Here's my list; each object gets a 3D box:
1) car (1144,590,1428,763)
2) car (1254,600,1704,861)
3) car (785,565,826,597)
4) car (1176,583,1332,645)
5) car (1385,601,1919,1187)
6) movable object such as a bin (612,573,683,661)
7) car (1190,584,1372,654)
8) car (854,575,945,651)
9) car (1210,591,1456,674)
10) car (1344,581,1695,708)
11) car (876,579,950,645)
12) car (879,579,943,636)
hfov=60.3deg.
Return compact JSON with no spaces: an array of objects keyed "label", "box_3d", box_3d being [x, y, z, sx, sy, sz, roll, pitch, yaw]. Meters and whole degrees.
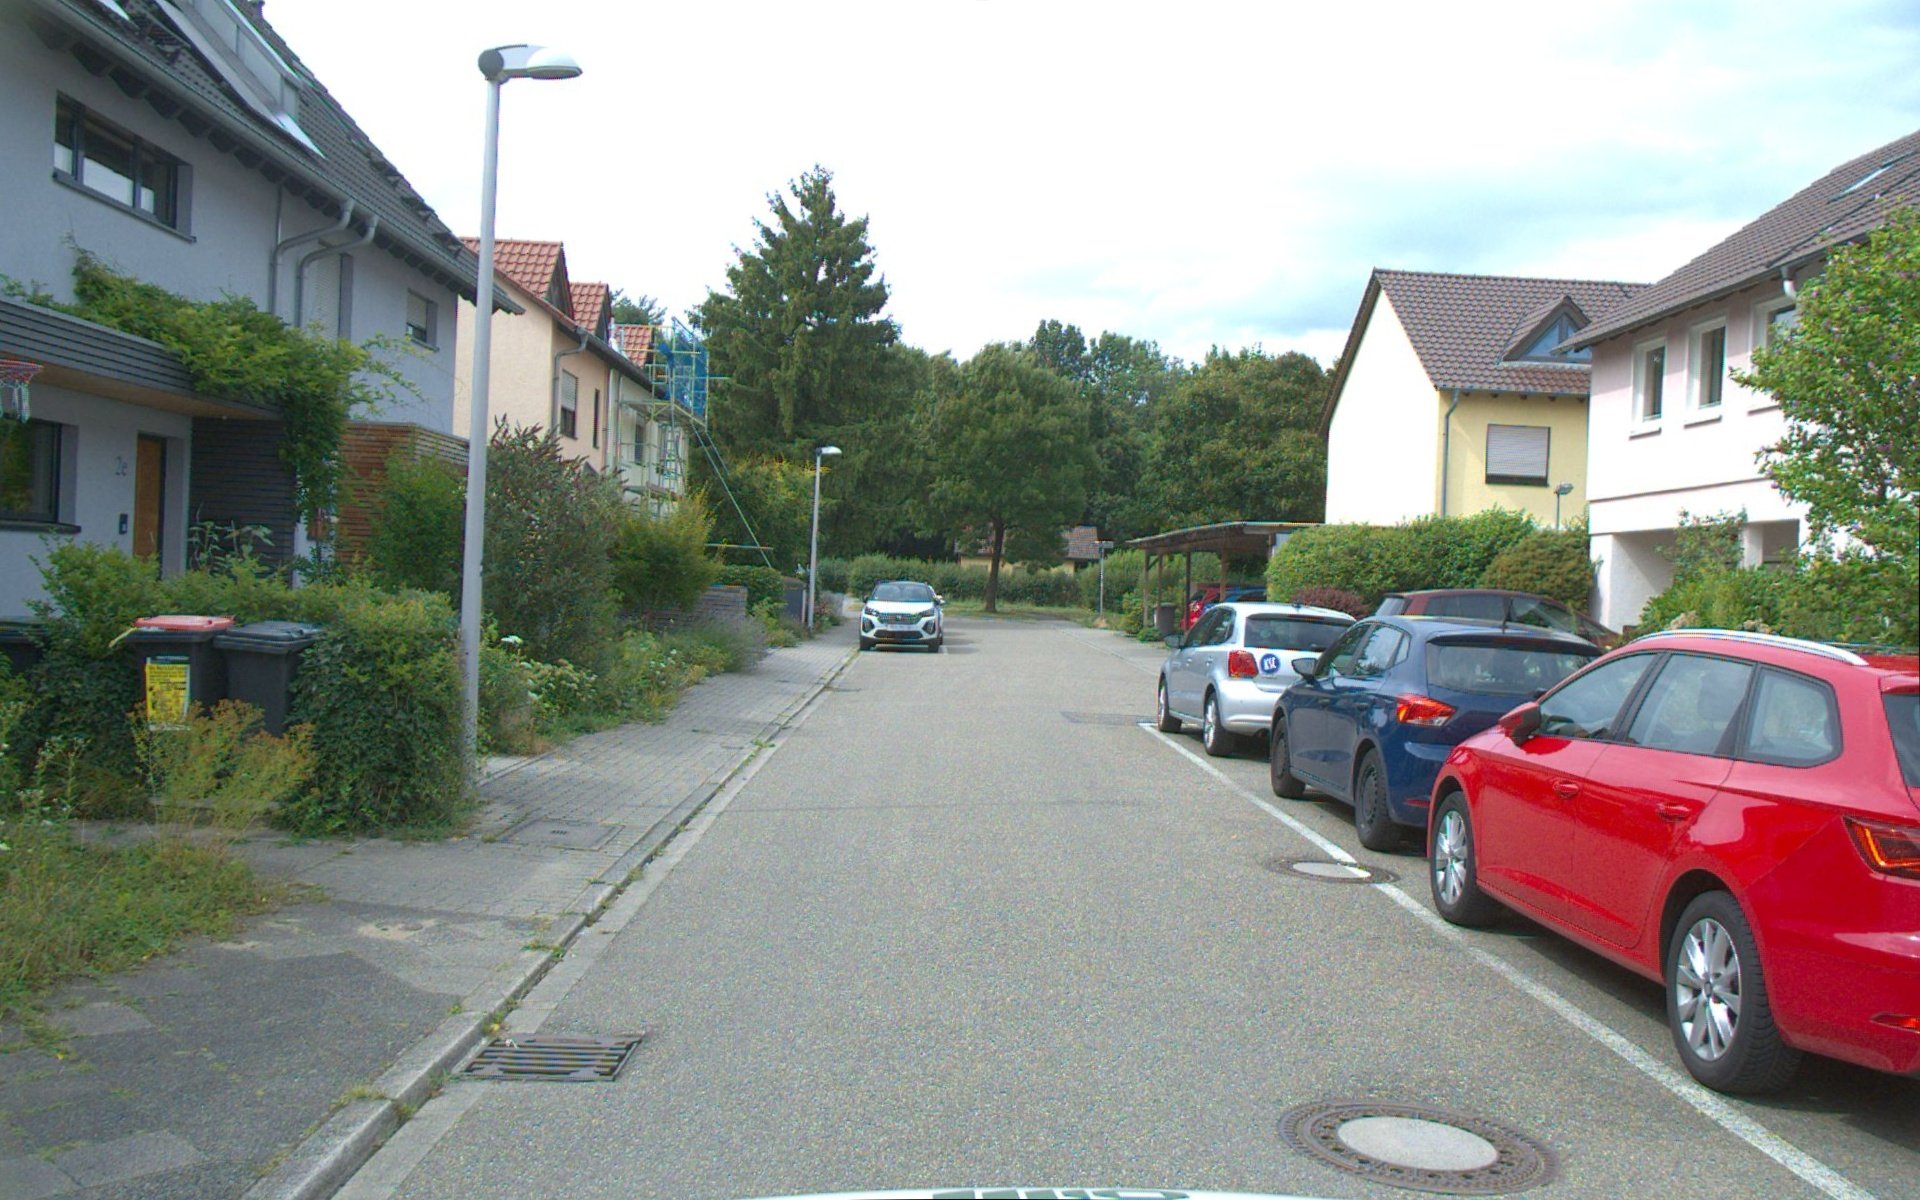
[{"label":"car","box_3d":[3.179,0.682,17.009,1.828,1.441,4.250,2,1,-3]},{"label":"car","box_3d":[3.323,0.742,11.513,1.737,1.379,4.265,2,1,0]},{"label":"car","box_3d":[-8.804,-1.097,94.340,1.898,1.689,4.340,2,1,-1]},{"label":"car","box_3d":[8.011,0.374,45.288,3.879,1.567,1.838,2,1,-4]},{"label":"car","box_3d":[3.276,0.818,6.678,1.738,1.460,4.825,4,0,-1]},{"label":"movable object such as a bin","box_3d":[-4.907,0.251,26.015,0.930,1.335,1.000,1,0,-2]},{"label":"car","box_3d":[7.793,0.440,40.362,3.966,1.549,1.949,2,1,-4]},{"label":"car","box_3d":[-1.318,0.255,37.821,1.894,1.583,4.634,2,1,0]},{"label":"car","box_3d":[7.328,0.620,32.812,4.361,1.458,2.026,2,1,-3]},{"label":"car","box_3d":[7.653,0.583,22.912,4.183,1.587,1.934,1,0,-1]},{"label":"car","box_3d":[-1.213,0.265,43.223,1.773,1.589,4.847,2,1,-1]},{"label":"car","box_3d":[-1.405,0.178,48.679,1.755,1.558,4.140,2,1,0]}]
